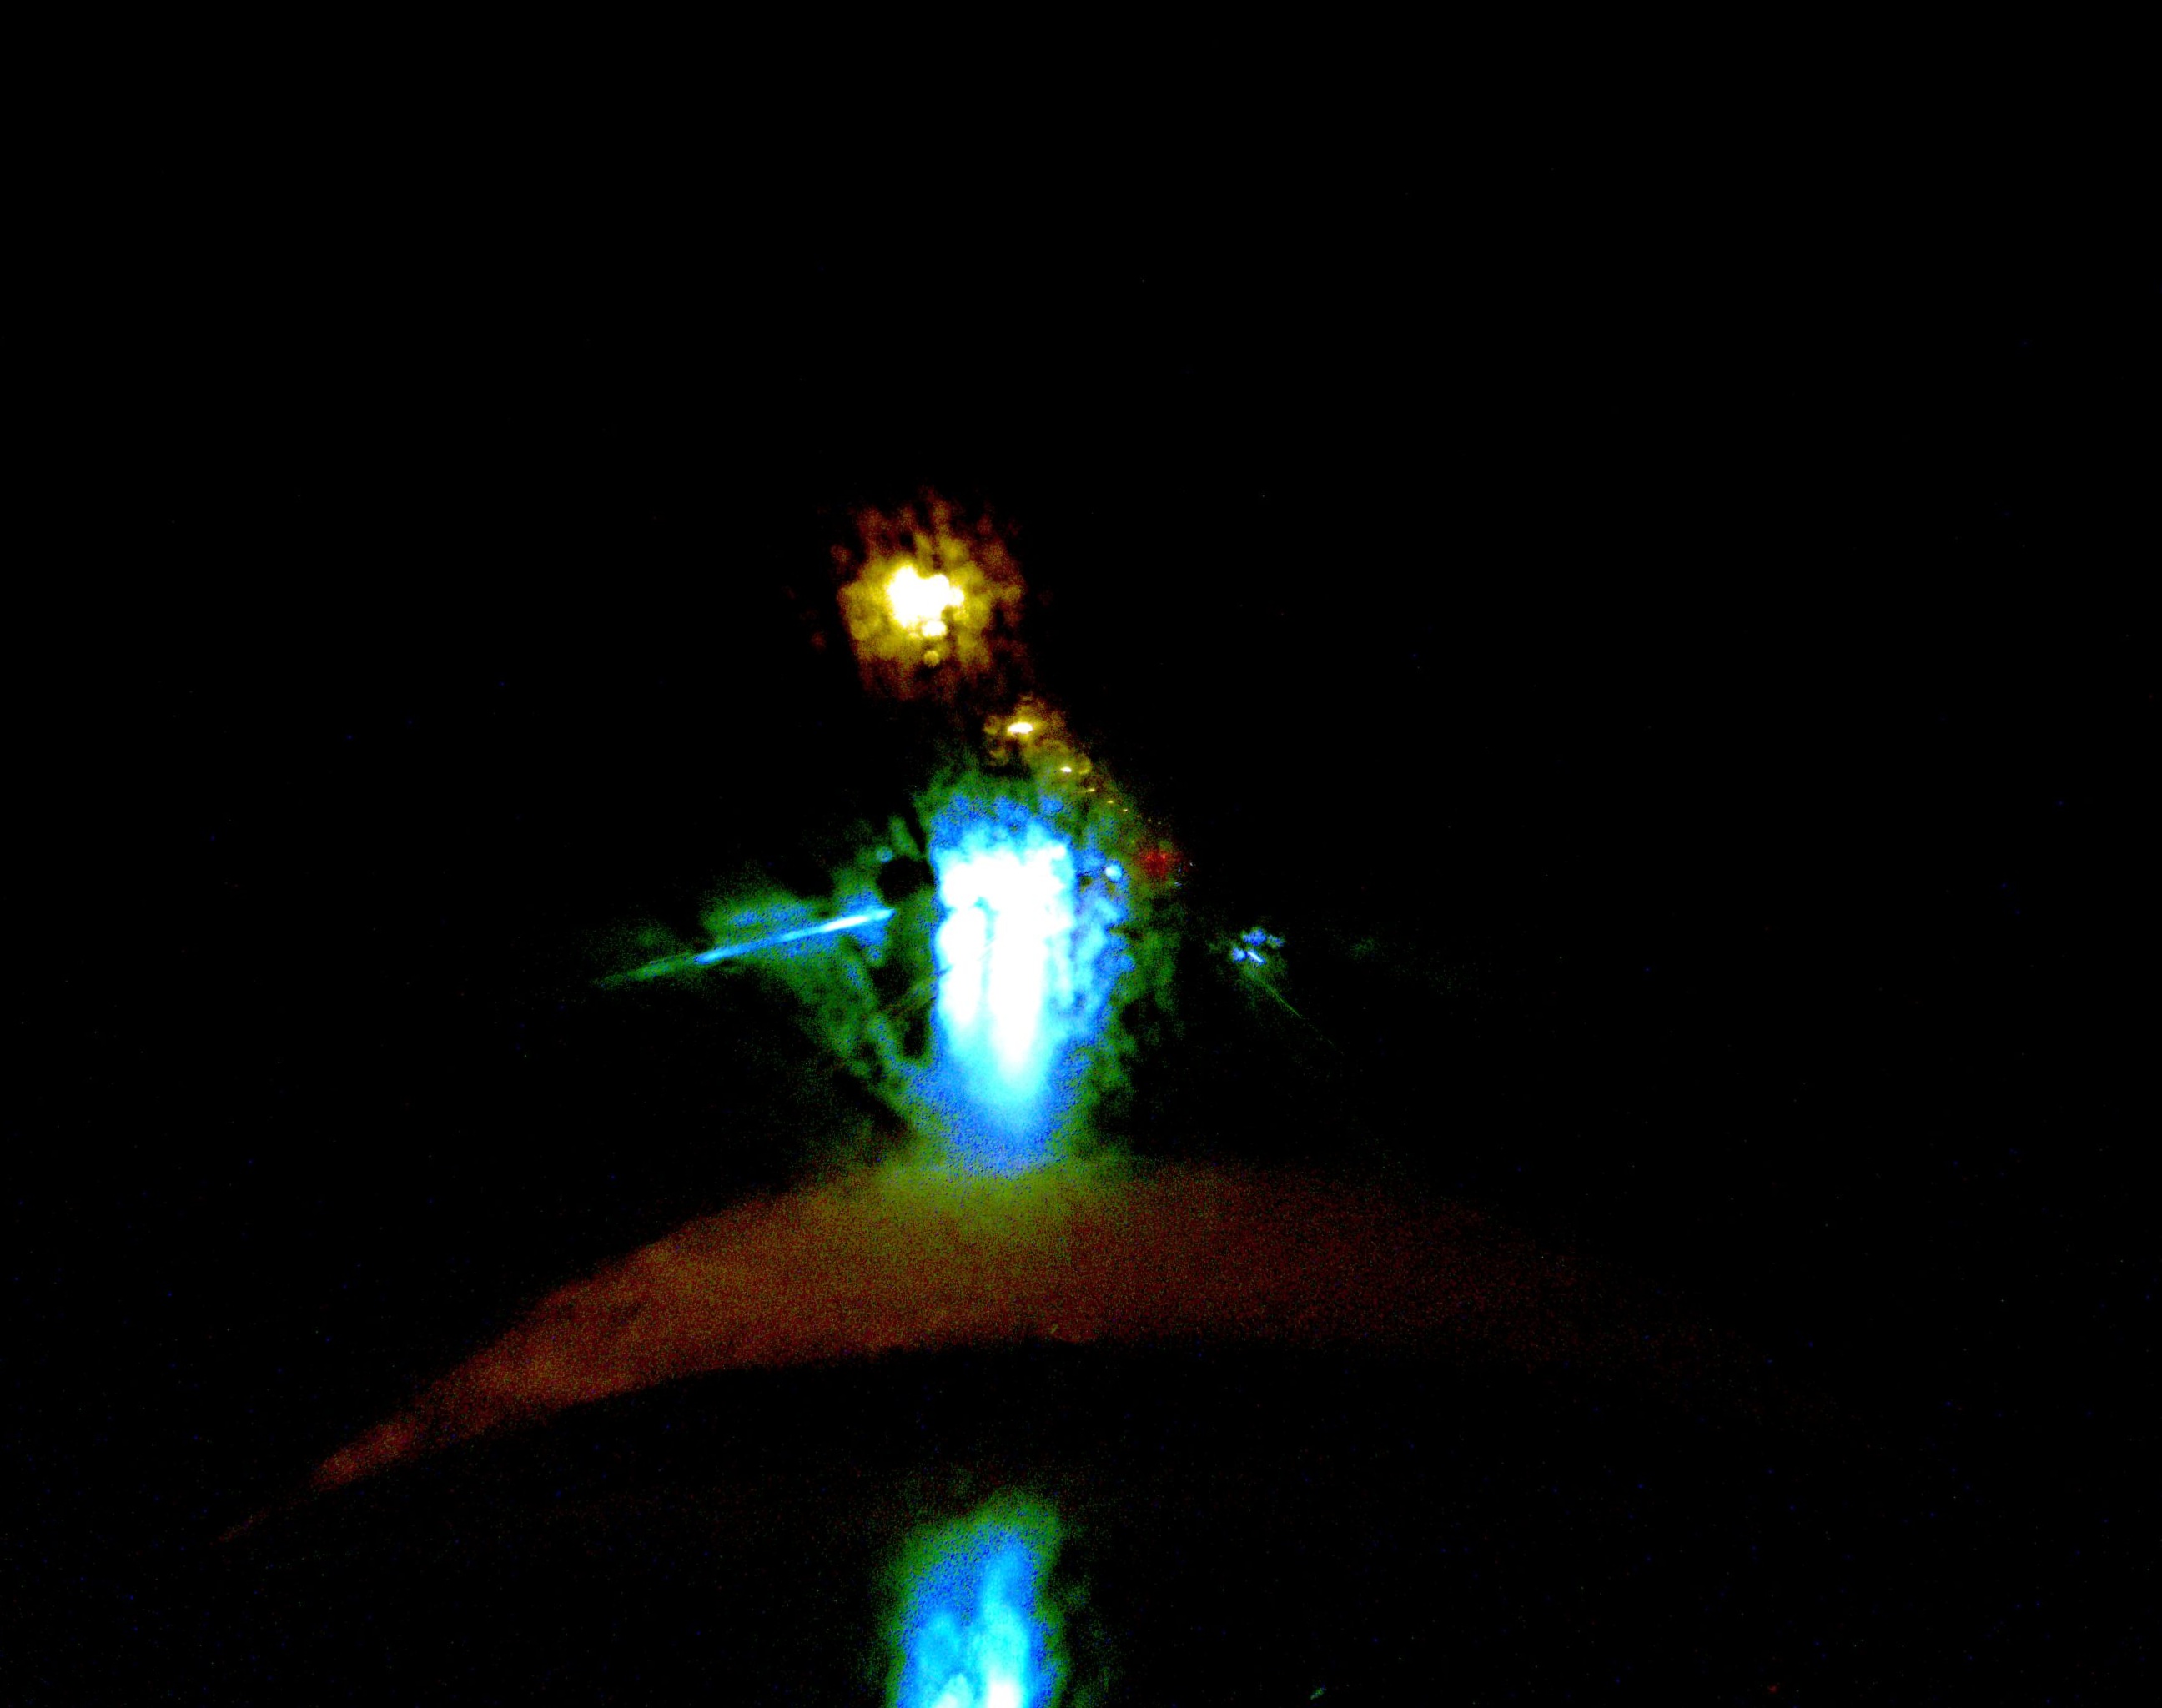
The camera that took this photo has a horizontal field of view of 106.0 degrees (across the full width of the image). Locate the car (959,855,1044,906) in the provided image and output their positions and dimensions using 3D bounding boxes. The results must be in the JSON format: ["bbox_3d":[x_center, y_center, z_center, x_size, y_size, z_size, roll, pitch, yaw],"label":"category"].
[{"bbox_3d":[-2.278,0.725,24.572,1.826,1.383,4.651,0,0,4],"label":"car"}]

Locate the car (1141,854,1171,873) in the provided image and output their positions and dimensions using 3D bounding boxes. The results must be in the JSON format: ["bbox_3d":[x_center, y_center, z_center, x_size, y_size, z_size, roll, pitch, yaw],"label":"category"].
[{"bbox_3d":[6.847,0.861,73.776,2.074,1.662,4.015,1,-1,15],"label":"car"}]
